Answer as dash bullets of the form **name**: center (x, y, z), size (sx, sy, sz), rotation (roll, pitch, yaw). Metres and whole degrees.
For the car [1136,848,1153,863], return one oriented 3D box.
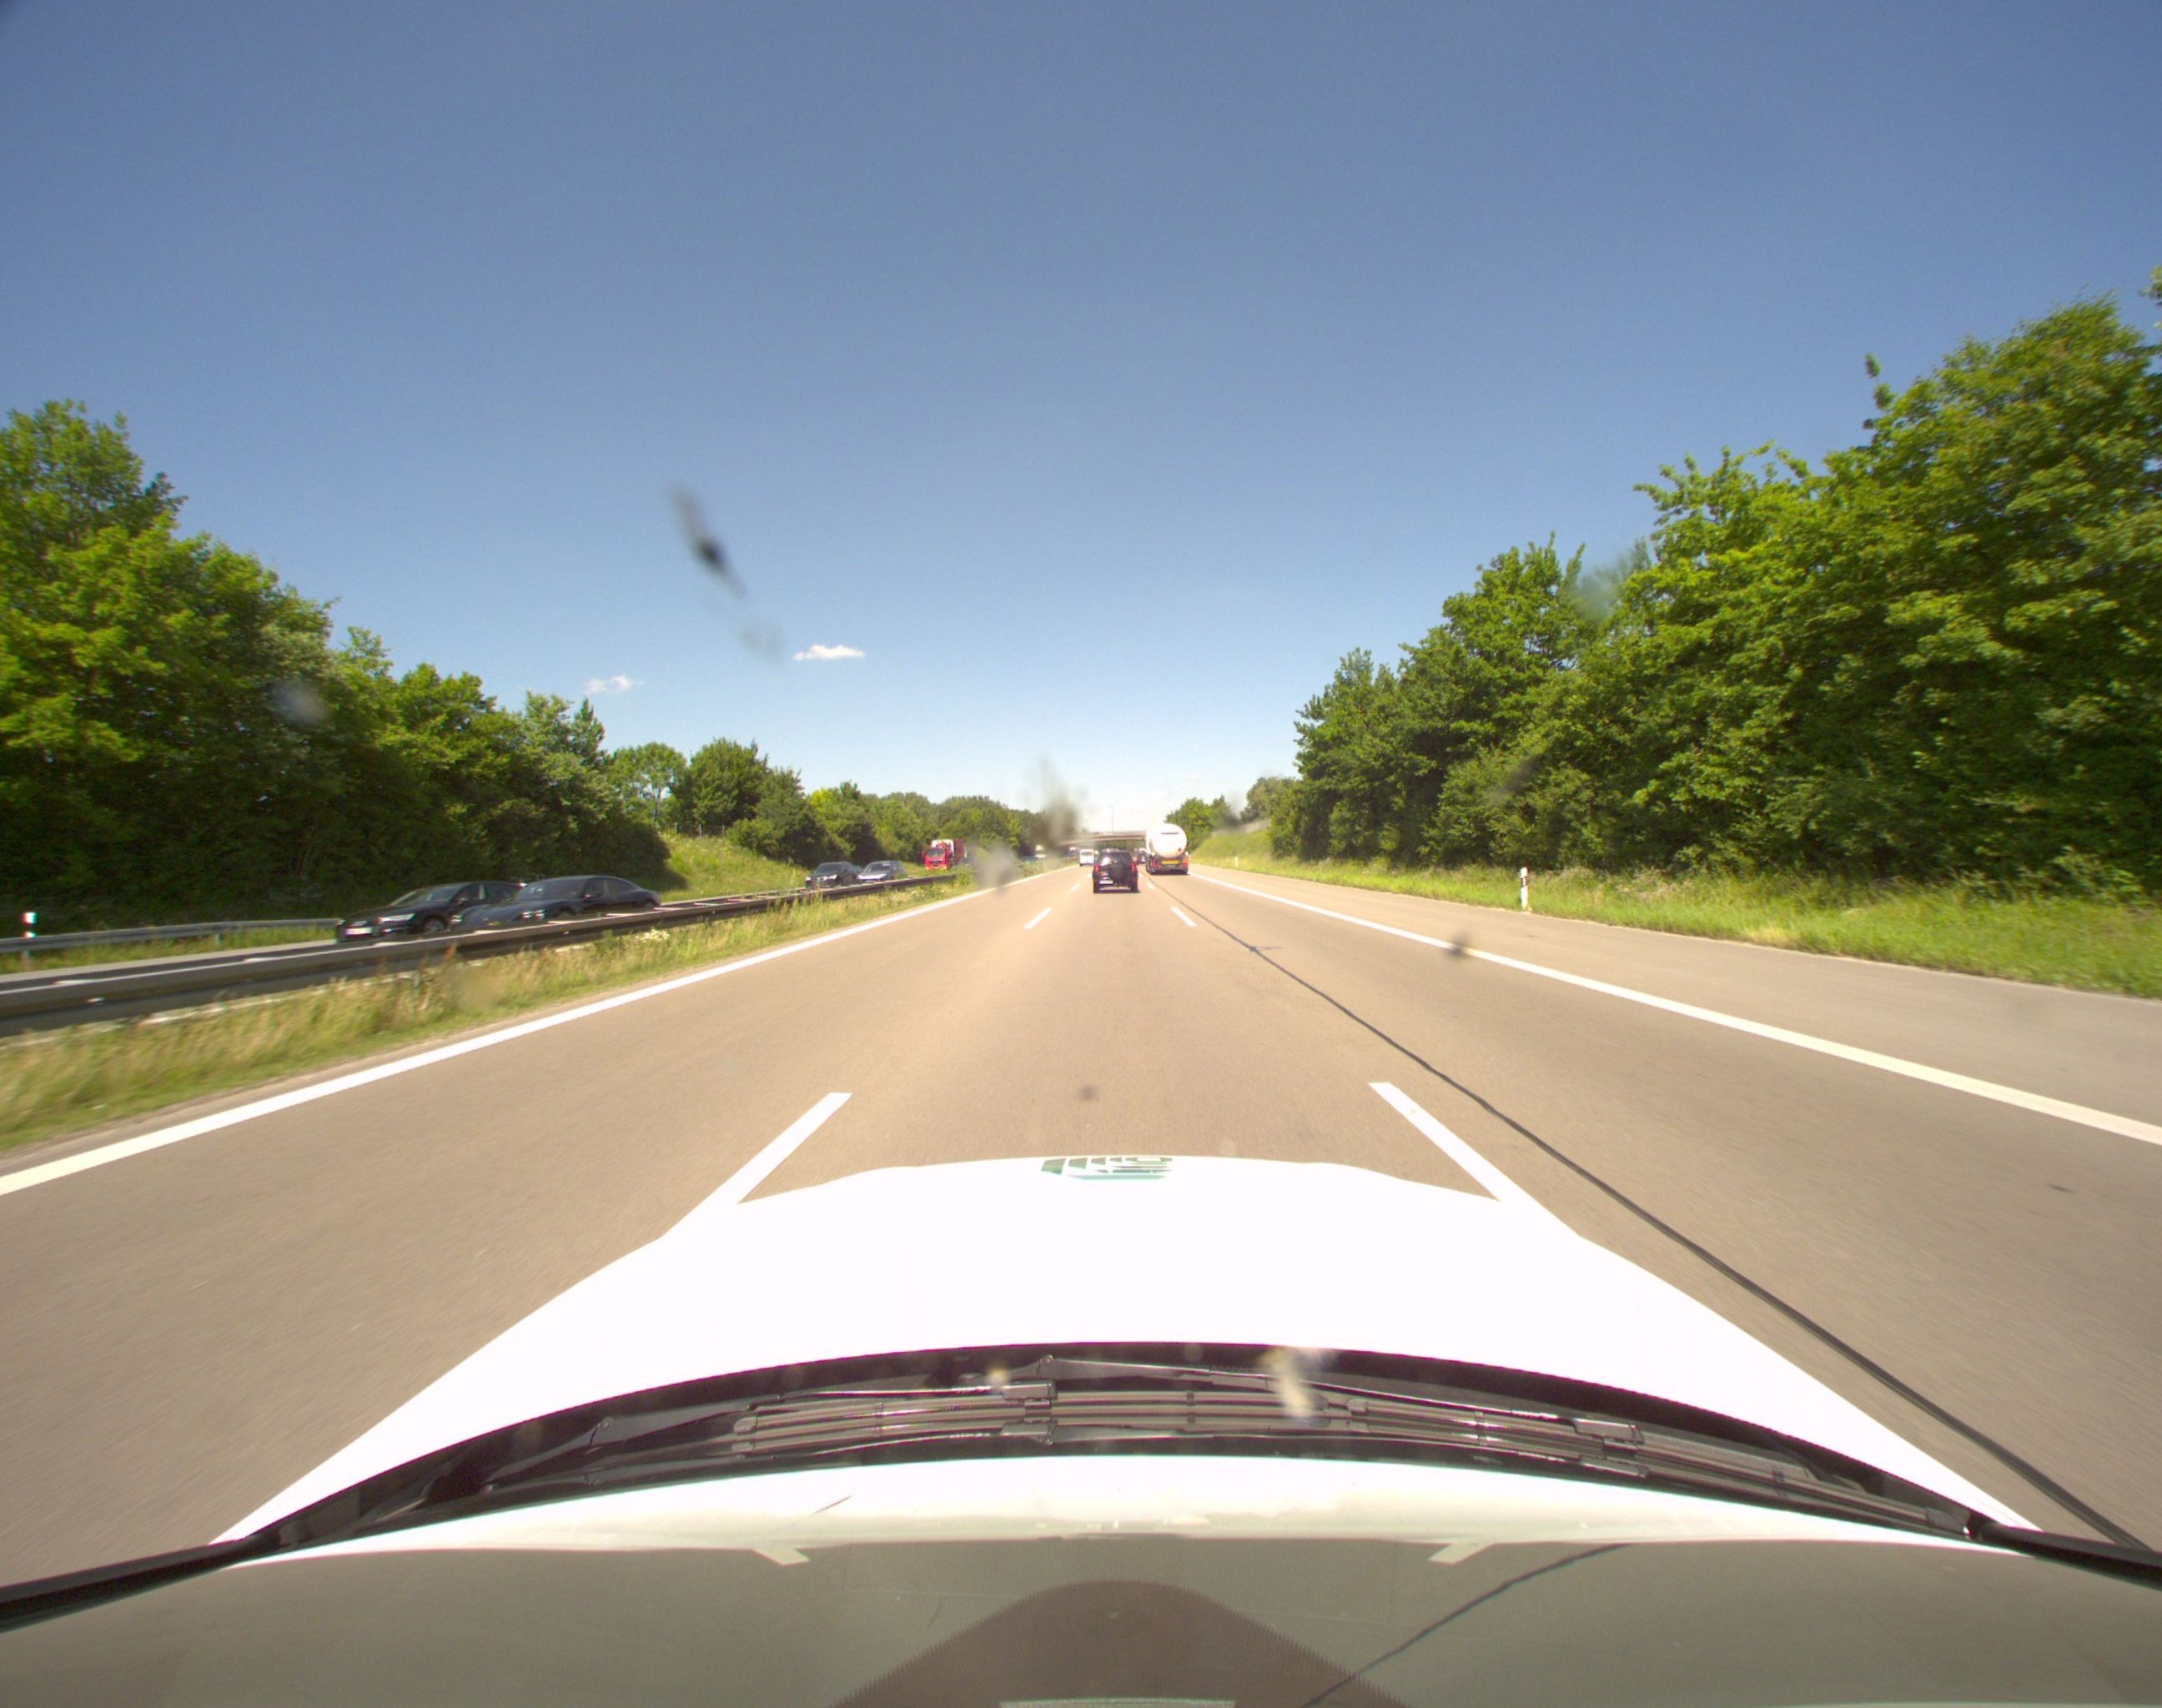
- **car**: center (7.612, 0.200, 97.777), size (1.985, 1.684, 4.004), rotation (-2, -1, 4)

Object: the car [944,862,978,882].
- **car**: center (-8.980, 1.321, 61.153), size (1.661, 1.317, 4.123), rotation (-2, 0, 3)

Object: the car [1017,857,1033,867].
- **car**: center (-9.045, 1.250, 131.537), size (1.888, 1.339, 4.766), rotation (-5, 0, 2)

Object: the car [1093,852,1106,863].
- **car**: center (2.813, 0.546, 123.083), size (1.986, 1.552, 4.000), rotation (-2, -1, 1)

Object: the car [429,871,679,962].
- **car**: center (-10.847, 1.203, 17.325), size (1.986, 1.475, 4.833), rotation (-2, 0, 2)

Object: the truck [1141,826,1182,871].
- **truck**: center (6.252, -0.407, 64.080), size (2.629, 3.374, 6.487), rotation (-1, 0, 1)

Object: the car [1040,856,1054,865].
- **car**: center (-5.803, 1.064, 138.152), size (1.888, 1.427, 4.766), rotation (-5, 0, 2)

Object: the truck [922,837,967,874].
- **truck**: center (-15.081, 0.164, 90.823), size (2.668, 3.769, 9.925), rotation (-3, 0, 2)

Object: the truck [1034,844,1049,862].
- **truck**: center (-9.253, -0.190, 190.885), size (2.661, 4.078, 6.080), rotation (-4, 0, 3)

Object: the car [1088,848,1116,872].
- **car**: center (1.649, 0.449, 62.065), size (1.986, 1.706, 4.338), rotation (-3, 0, 2)

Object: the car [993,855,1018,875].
- **car**: center (-7.802, 1.113, 84.824), size (1.986, 1.865, 4.899), rotation (-2, 0, 1)

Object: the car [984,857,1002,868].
- **car**: center (-13.134, 1.318, 122.369), size (1.888, 1.438, 4.926), rotation (-5, 0, 2)

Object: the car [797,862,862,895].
- **car**: center (-13.838, 1.293, 45.124), size (1.986, 1.629, 4.577), rotation (-2, 0, 2)

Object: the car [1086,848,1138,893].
- **car**: center (1.278, 0.627, 32.697), size (1.898, 1.665, 4.003), rotation (-2, 0, 3)

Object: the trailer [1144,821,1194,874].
- **trailer**: center (6.145, -0.389, 58.252), size (2.638, 3.390, 11.155), rotation (-1, 0, 2)

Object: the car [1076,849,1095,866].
- **car**: center (0.599, 0.439, 99.923), size (1.986, 2.013, 4.952), rotation (-3, 0, 2)

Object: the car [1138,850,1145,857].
- **car**: center (17.287, -0.157, 231.985), size (1.805, 1.746, 4.003), rotation (-2, 0, 3)

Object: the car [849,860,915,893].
- **car**: center (-9.942, 1.087, 41.089), size (1.946, 1.483, 4.350), rotation (-2, 0, 3)

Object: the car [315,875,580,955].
- **car**: center (-15.281, 1.373, 20.234), size (1.986, 1.475, 5.625), rotation (-2, 0, 2)

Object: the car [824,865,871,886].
- **car**: center (-16.905, 1.528, 59.201), size (1.740, 1.297, 5.065), rotation (-3, 0, 2)

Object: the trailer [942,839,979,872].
- **trailer**: center (-14.665, 0.149, 99.716), size (2.668, 3.769, 8.412), rotation (-3, 0, 2)

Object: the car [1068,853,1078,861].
- **car**: center (-1.772, 0.634, 184.250), size (1.851, 1.600, 4.723), rotation (-2, 0, 2)
